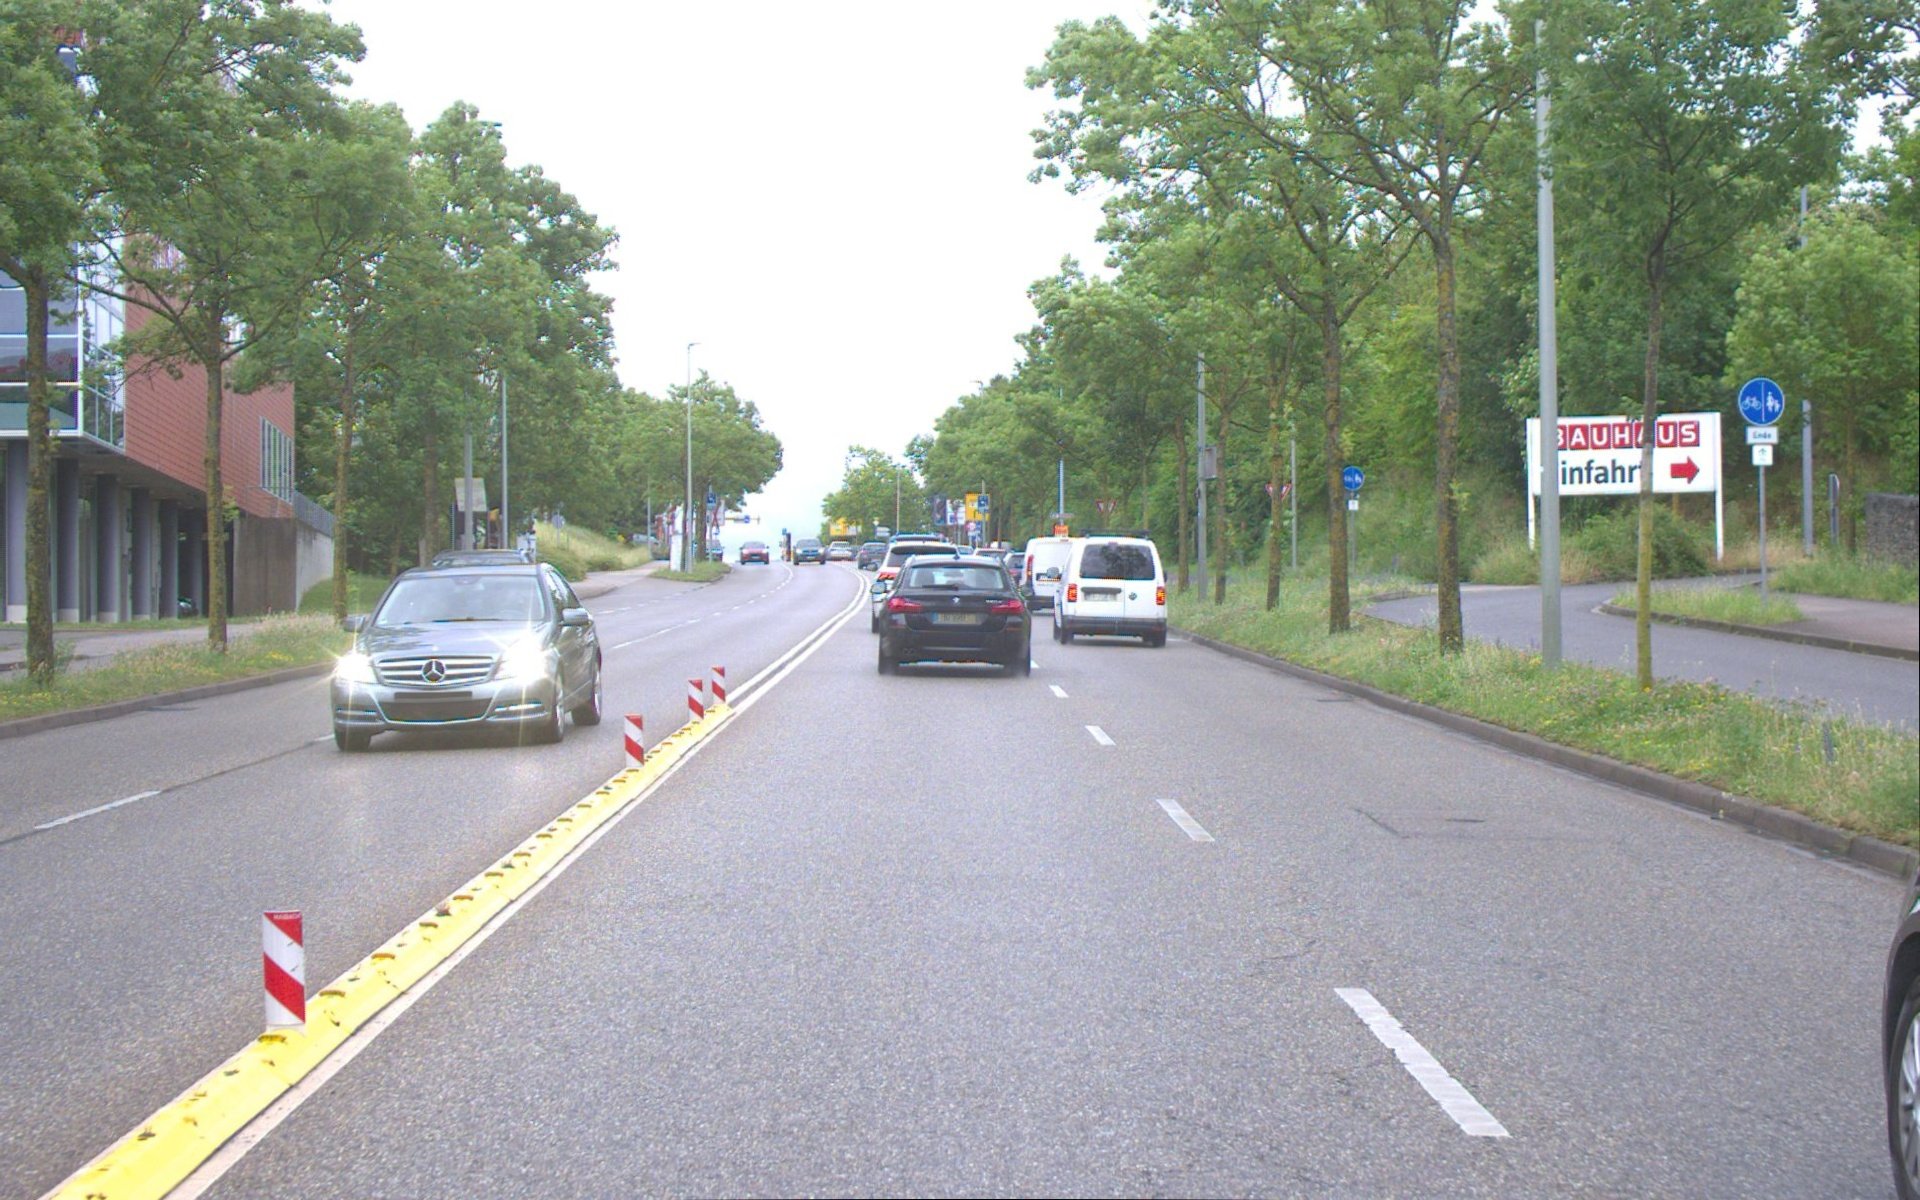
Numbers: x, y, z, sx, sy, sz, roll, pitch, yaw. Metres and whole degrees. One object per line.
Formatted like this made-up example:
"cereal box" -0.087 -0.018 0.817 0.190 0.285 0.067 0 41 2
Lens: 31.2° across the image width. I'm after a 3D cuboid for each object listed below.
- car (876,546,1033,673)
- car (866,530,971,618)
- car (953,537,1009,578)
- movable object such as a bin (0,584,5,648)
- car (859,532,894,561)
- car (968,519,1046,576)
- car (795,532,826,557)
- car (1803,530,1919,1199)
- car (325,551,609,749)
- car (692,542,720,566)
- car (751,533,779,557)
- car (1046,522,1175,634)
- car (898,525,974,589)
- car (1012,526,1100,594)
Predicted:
"car" -0.069 0.084 42.606 1.827 1.463 4.000 1 1 0
"car" -0.762 -0.469 62.517 1.794 1.505 4.000 2 0 -1
"car" 0.796 -1.622 132.701 1.794 1.505 4.001 2 0 -4
"movable object such as a bin" -16.583 0.261 57.604 0.819 1.075 1.086 2 1 0
"car" -4.559 -2.897 186.515 1.794 1.505 4.000 2 0 -2
"car" 1.275 -1.432 94.779 1.794 1.505 4.001 2 0 -4
"car" -9.275 -3.435 213.138 1.794 1.505 4.001 2 0 -4
"car" 2.942 0.668 6.176 1.685 1.575 4.219 1 1 -2
"car" -3.951 0.348 28.169 1.667 1.405 4.378 -2 1 0
"car" -16.820 -3.060 227.937 1.794 1.505 4.001 2 0 -4
"car" -12.844 -3.590 226.176 1.794 1.505 4.001 2 0 -4
"car" 2.493 -0.398 57.797 1.827 1.753 4.000 2 1 -2
"car" -0.619 -1.047 85.501 1.794 1.505 4.000 2 0 -1
"car" 2.252 -0.926 81.249 1.794 1.505 4.000 2 0 -2
